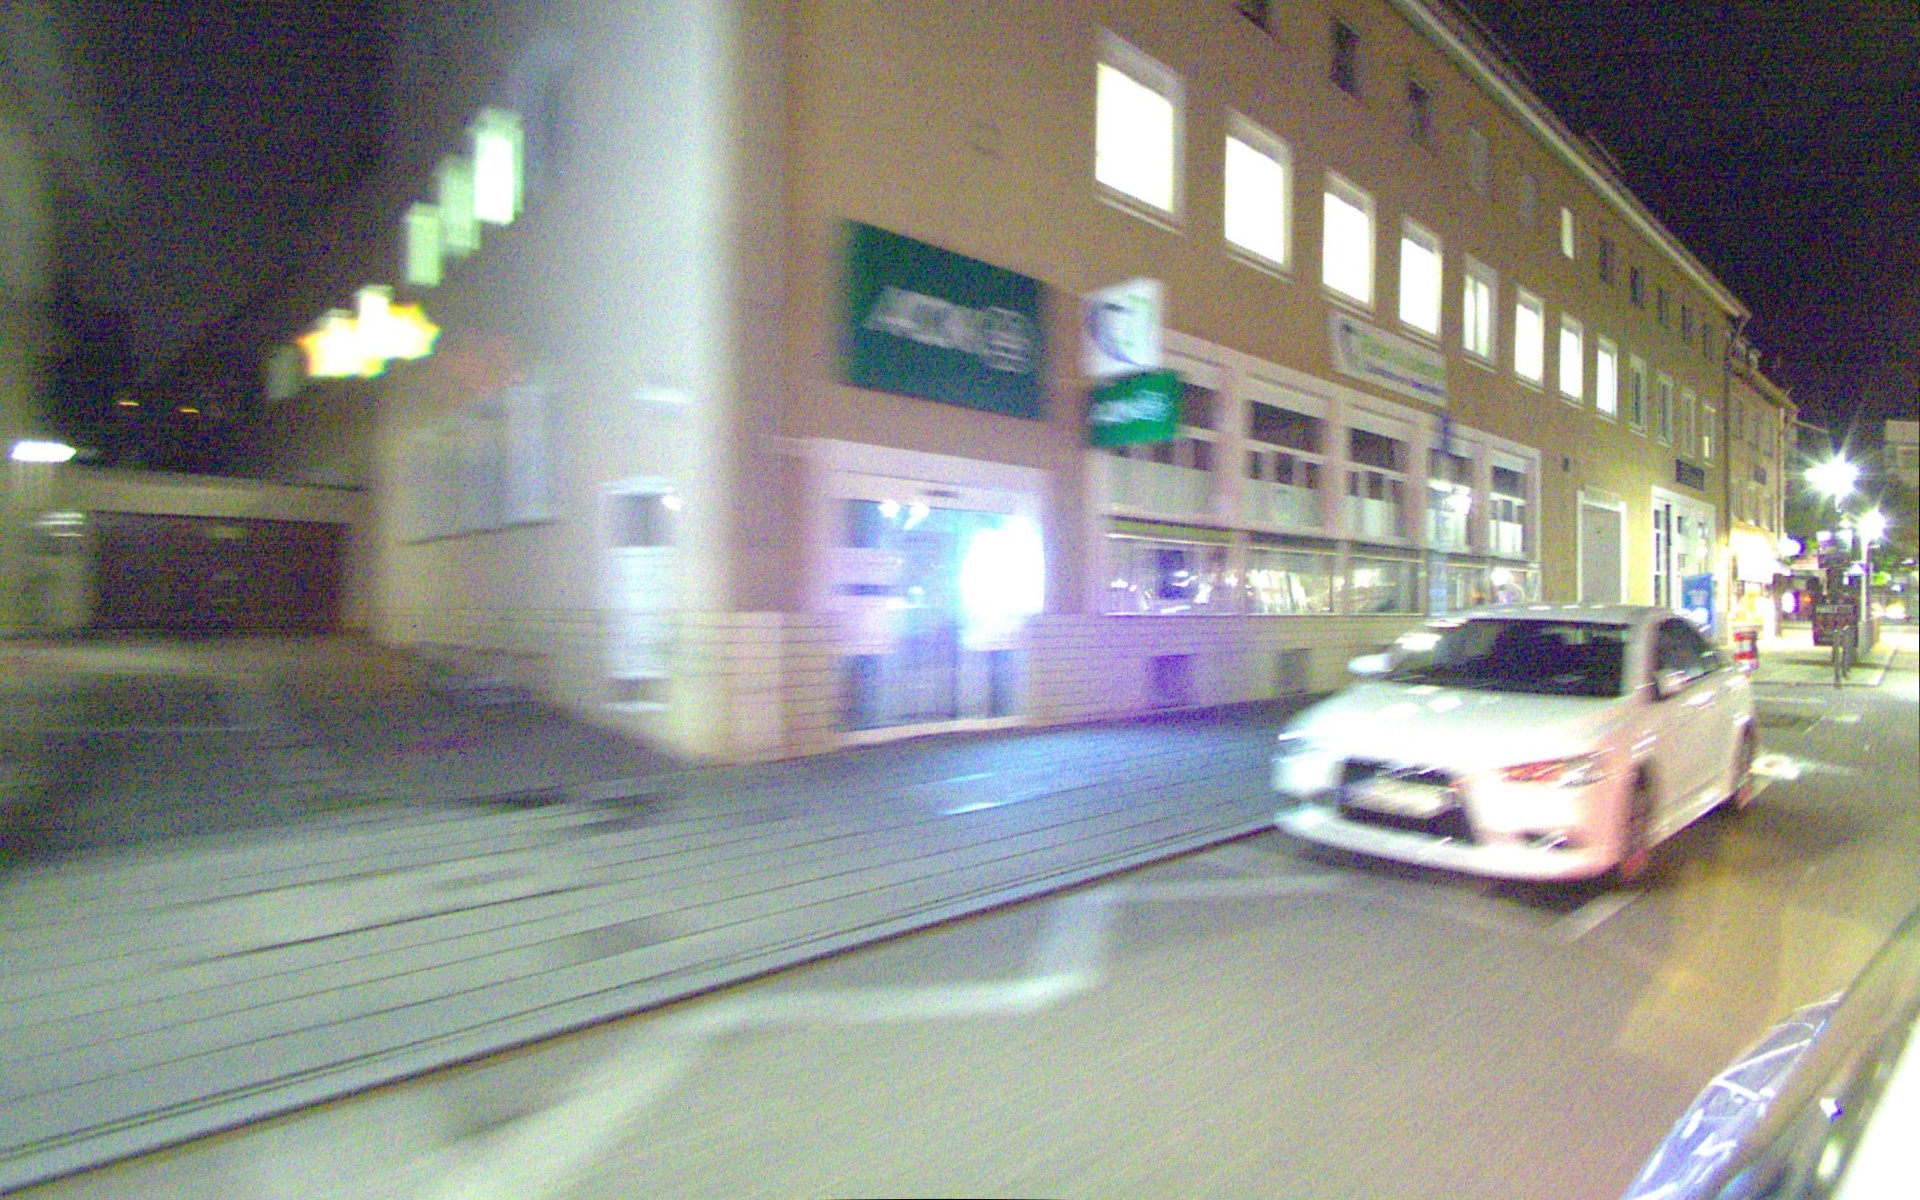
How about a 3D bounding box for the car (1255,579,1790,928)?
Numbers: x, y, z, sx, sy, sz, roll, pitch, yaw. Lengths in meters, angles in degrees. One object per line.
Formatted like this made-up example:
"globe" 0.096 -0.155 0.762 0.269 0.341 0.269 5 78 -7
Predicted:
"car" 3.929 0.633 6.636 4.558 1.506 1.744 -1 1 -43
